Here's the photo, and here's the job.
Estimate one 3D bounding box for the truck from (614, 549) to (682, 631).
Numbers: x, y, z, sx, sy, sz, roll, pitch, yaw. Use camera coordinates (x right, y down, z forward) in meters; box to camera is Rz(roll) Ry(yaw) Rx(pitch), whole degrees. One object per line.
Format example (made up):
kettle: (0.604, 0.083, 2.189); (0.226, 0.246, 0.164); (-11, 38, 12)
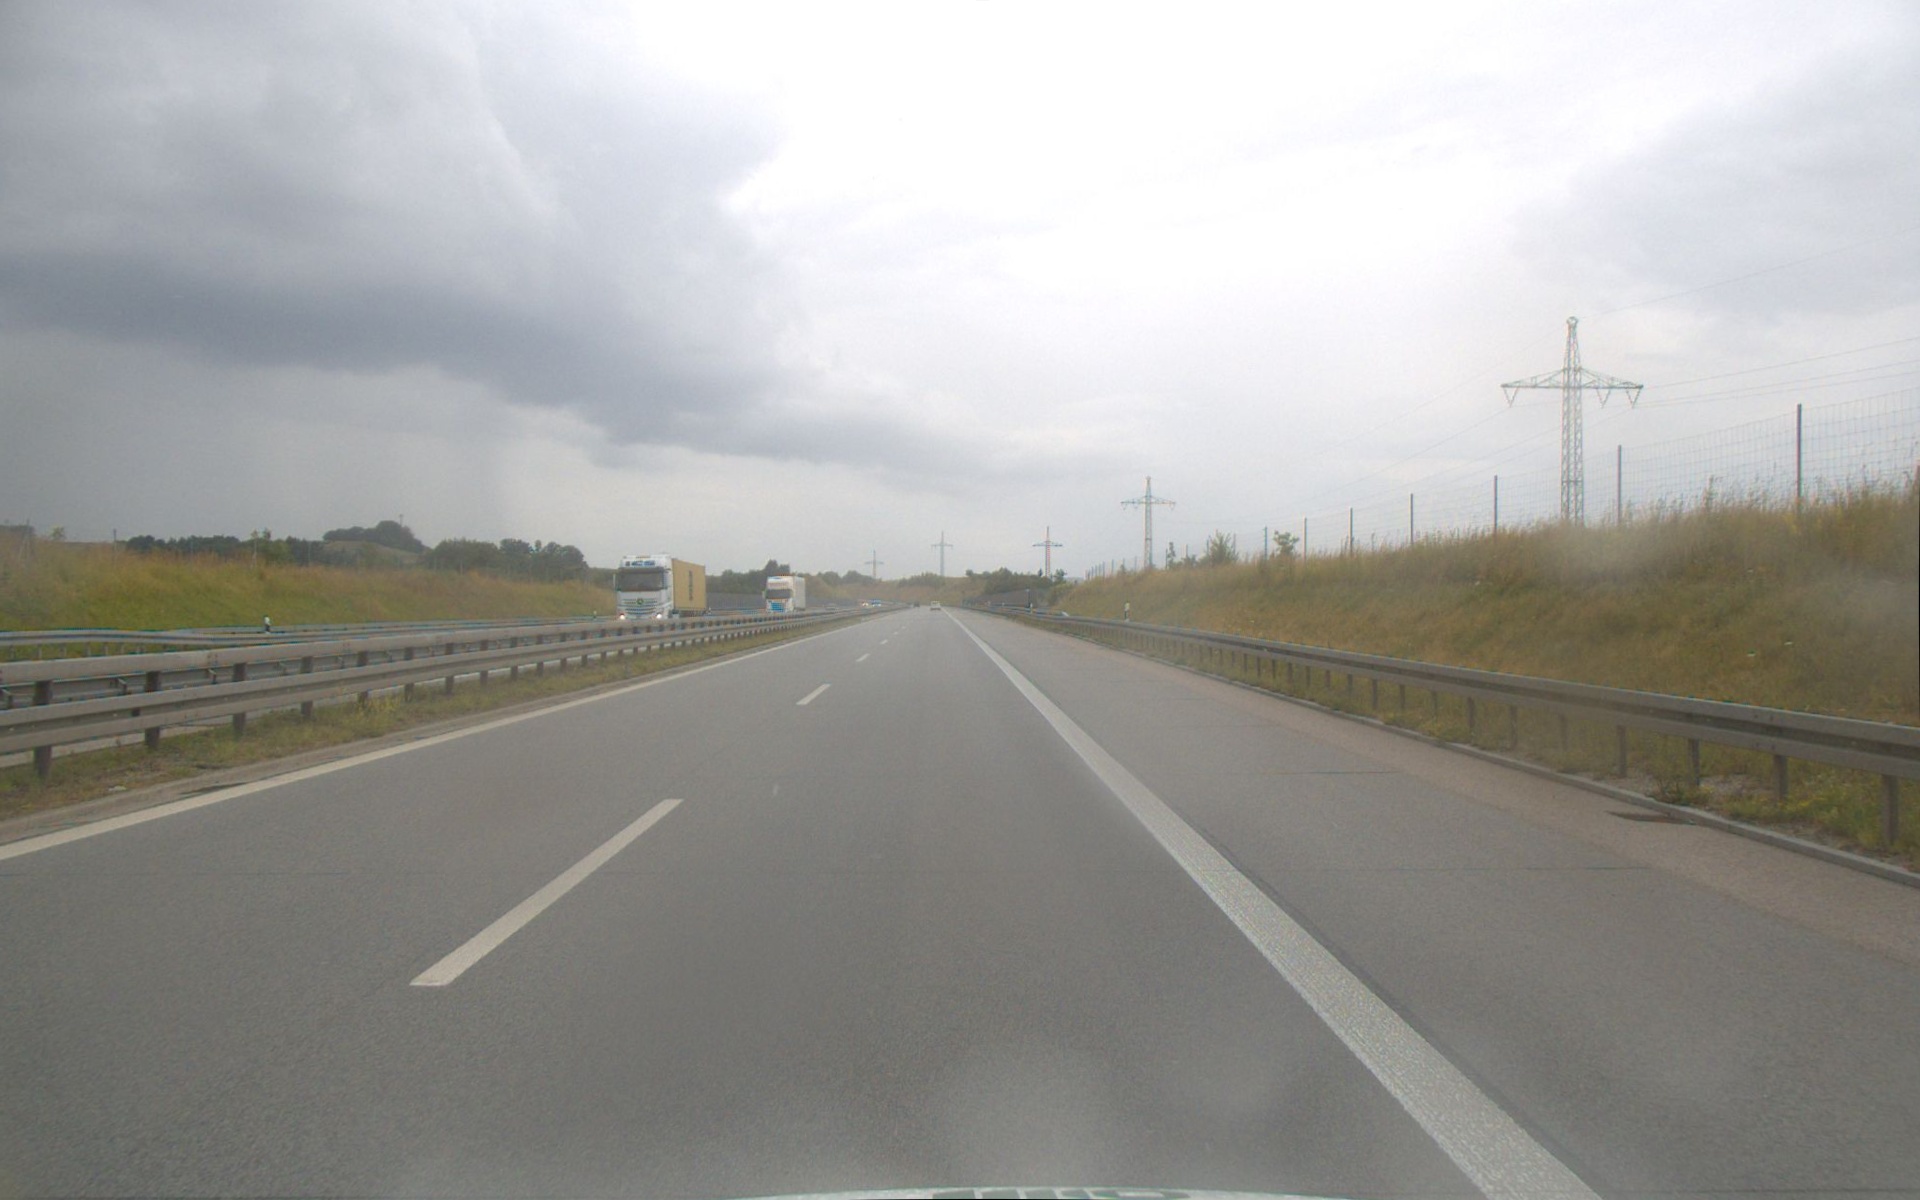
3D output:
truck: (-15.808, -0.490, 84.201); (2.540, 3.994, 5.585); (-1, 0, -2)

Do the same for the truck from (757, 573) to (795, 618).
truck: (-16.849, -0.395, 151.932); (2.892, 3.994, 5.517); (-1, 0, -1)

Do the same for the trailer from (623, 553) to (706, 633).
trailer: (-16.059, -0.346, 90.879); (2.538, 3.994, 13.695); (-1, 0, -2)
